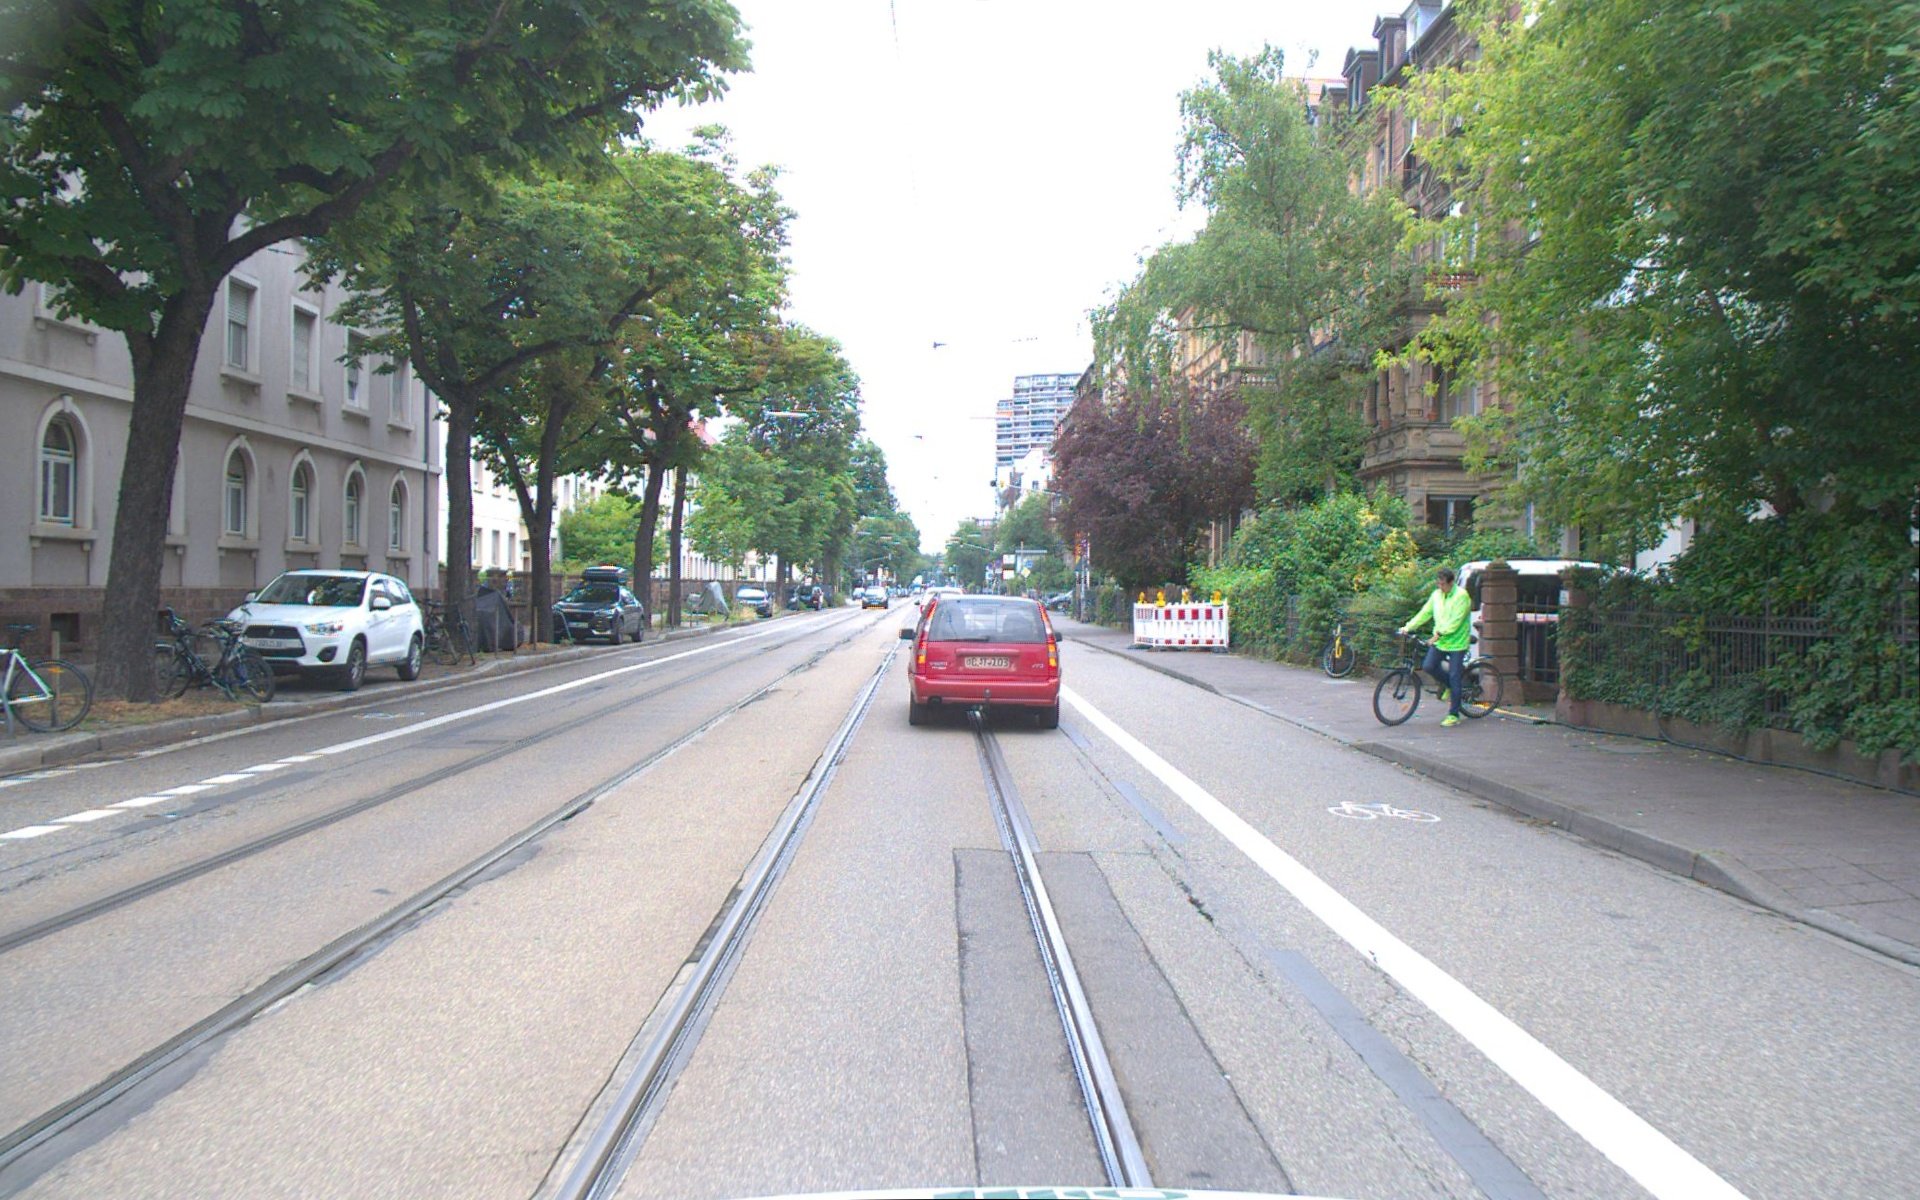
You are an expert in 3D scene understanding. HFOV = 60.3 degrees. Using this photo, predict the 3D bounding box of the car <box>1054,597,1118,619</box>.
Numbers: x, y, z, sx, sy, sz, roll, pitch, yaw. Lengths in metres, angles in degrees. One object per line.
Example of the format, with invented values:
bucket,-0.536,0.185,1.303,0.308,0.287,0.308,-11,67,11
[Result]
car,8.099,0.483,106.022,3.902,1.385,1.894,0,0,9

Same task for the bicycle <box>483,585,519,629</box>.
bicycle,-14.937,0.214,53.871,0.615,1.406,2.140,0,0,-1

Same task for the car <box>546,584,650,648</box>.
car,-9.312,0.370,42.864,1.741,1.537,4.237,1,0,0

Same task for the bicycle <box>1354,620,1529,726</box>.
bicycle,5.578,0.834,19.212,1.804,1.094,0.606,-3,0,-3

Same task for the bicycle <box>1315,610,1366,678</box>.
bicycle,6.268,0.714,27.297,0.469,1.063,1.531,0,0,-1

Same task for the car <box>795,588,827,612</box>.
car,-9.853,-0.014,109.766,1.813,1.590,3.942,1,0,-1

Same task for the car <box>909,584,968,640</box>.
car,-0.643,0.356,51.378,1.683,1.653,3.941,1,0,1

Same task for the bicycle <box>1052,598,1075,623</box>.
bicycle,6.352,0.641,101.289,0.898,1.533,2.382,1,0,16

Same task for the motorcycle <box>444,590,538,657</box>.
motorcycle,-9.611,0.473,33.969,0.845,1.310,2.324,1,0,12

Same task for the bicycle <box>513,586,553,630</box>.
bicycle,-13.868,0.246,53.743,0.776,1.406,2.141,0,0,-1

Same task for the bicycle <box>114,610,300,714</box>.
bicycle,-8.947,0.732,19.692,1.883,1.140,0.624,2,0,-2

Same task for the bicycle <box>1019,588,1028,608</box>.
bicycle,4.657,-0.146,120.950,0.540,1.424,1.733,0,0,-1

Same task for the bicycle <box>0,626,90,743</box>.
bicycle,-8.536,0.746,15.072,0.473,0.975,1.398,0,0,0

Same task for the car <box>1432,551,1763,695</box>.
car,8.763,0.299,22.976,3.906,1.891,1.808,0,0,-1

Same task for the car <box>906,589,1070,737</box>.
car,0.254,0.640,18.928,1.655,1.466,3.742,2,1,-1

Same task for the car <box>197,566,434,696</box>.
car,-9.134,0.392,23.844,1.859,1.684,4.224,1,0,-2

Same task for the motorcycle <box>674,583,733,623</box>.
motorcycle,-10.027,0.124,64.681,2.225,1.538,0.924,0,-2,34

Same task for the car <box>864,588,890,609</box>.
car,-5.707,-0.115,114.189,1.720,1.404,4.025,0,0,-2

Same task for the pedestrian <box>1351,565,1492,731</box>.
pedestrian,5.199,0.522,18.703,1.204,1.763,1.018,-3,0,-2

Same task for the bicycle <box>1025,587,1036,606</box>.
bicycle,4.973,-0.270,116.811,0.694,1.323,1.904,0,0,-1

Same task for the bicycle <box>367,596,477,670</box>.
bicycle,-9.471,0.570,29.141,1.706,1.213,0.653,2,0,13

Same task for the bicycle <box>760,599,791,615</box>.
bicycle,-10.592,0.387,94.870,1.713,0.858,0.684,1,0,0

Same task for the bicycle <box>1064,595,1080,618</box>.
bicycle,5.151,0.288,75.944,0.512,1.048,2.176,-1,0,-1
